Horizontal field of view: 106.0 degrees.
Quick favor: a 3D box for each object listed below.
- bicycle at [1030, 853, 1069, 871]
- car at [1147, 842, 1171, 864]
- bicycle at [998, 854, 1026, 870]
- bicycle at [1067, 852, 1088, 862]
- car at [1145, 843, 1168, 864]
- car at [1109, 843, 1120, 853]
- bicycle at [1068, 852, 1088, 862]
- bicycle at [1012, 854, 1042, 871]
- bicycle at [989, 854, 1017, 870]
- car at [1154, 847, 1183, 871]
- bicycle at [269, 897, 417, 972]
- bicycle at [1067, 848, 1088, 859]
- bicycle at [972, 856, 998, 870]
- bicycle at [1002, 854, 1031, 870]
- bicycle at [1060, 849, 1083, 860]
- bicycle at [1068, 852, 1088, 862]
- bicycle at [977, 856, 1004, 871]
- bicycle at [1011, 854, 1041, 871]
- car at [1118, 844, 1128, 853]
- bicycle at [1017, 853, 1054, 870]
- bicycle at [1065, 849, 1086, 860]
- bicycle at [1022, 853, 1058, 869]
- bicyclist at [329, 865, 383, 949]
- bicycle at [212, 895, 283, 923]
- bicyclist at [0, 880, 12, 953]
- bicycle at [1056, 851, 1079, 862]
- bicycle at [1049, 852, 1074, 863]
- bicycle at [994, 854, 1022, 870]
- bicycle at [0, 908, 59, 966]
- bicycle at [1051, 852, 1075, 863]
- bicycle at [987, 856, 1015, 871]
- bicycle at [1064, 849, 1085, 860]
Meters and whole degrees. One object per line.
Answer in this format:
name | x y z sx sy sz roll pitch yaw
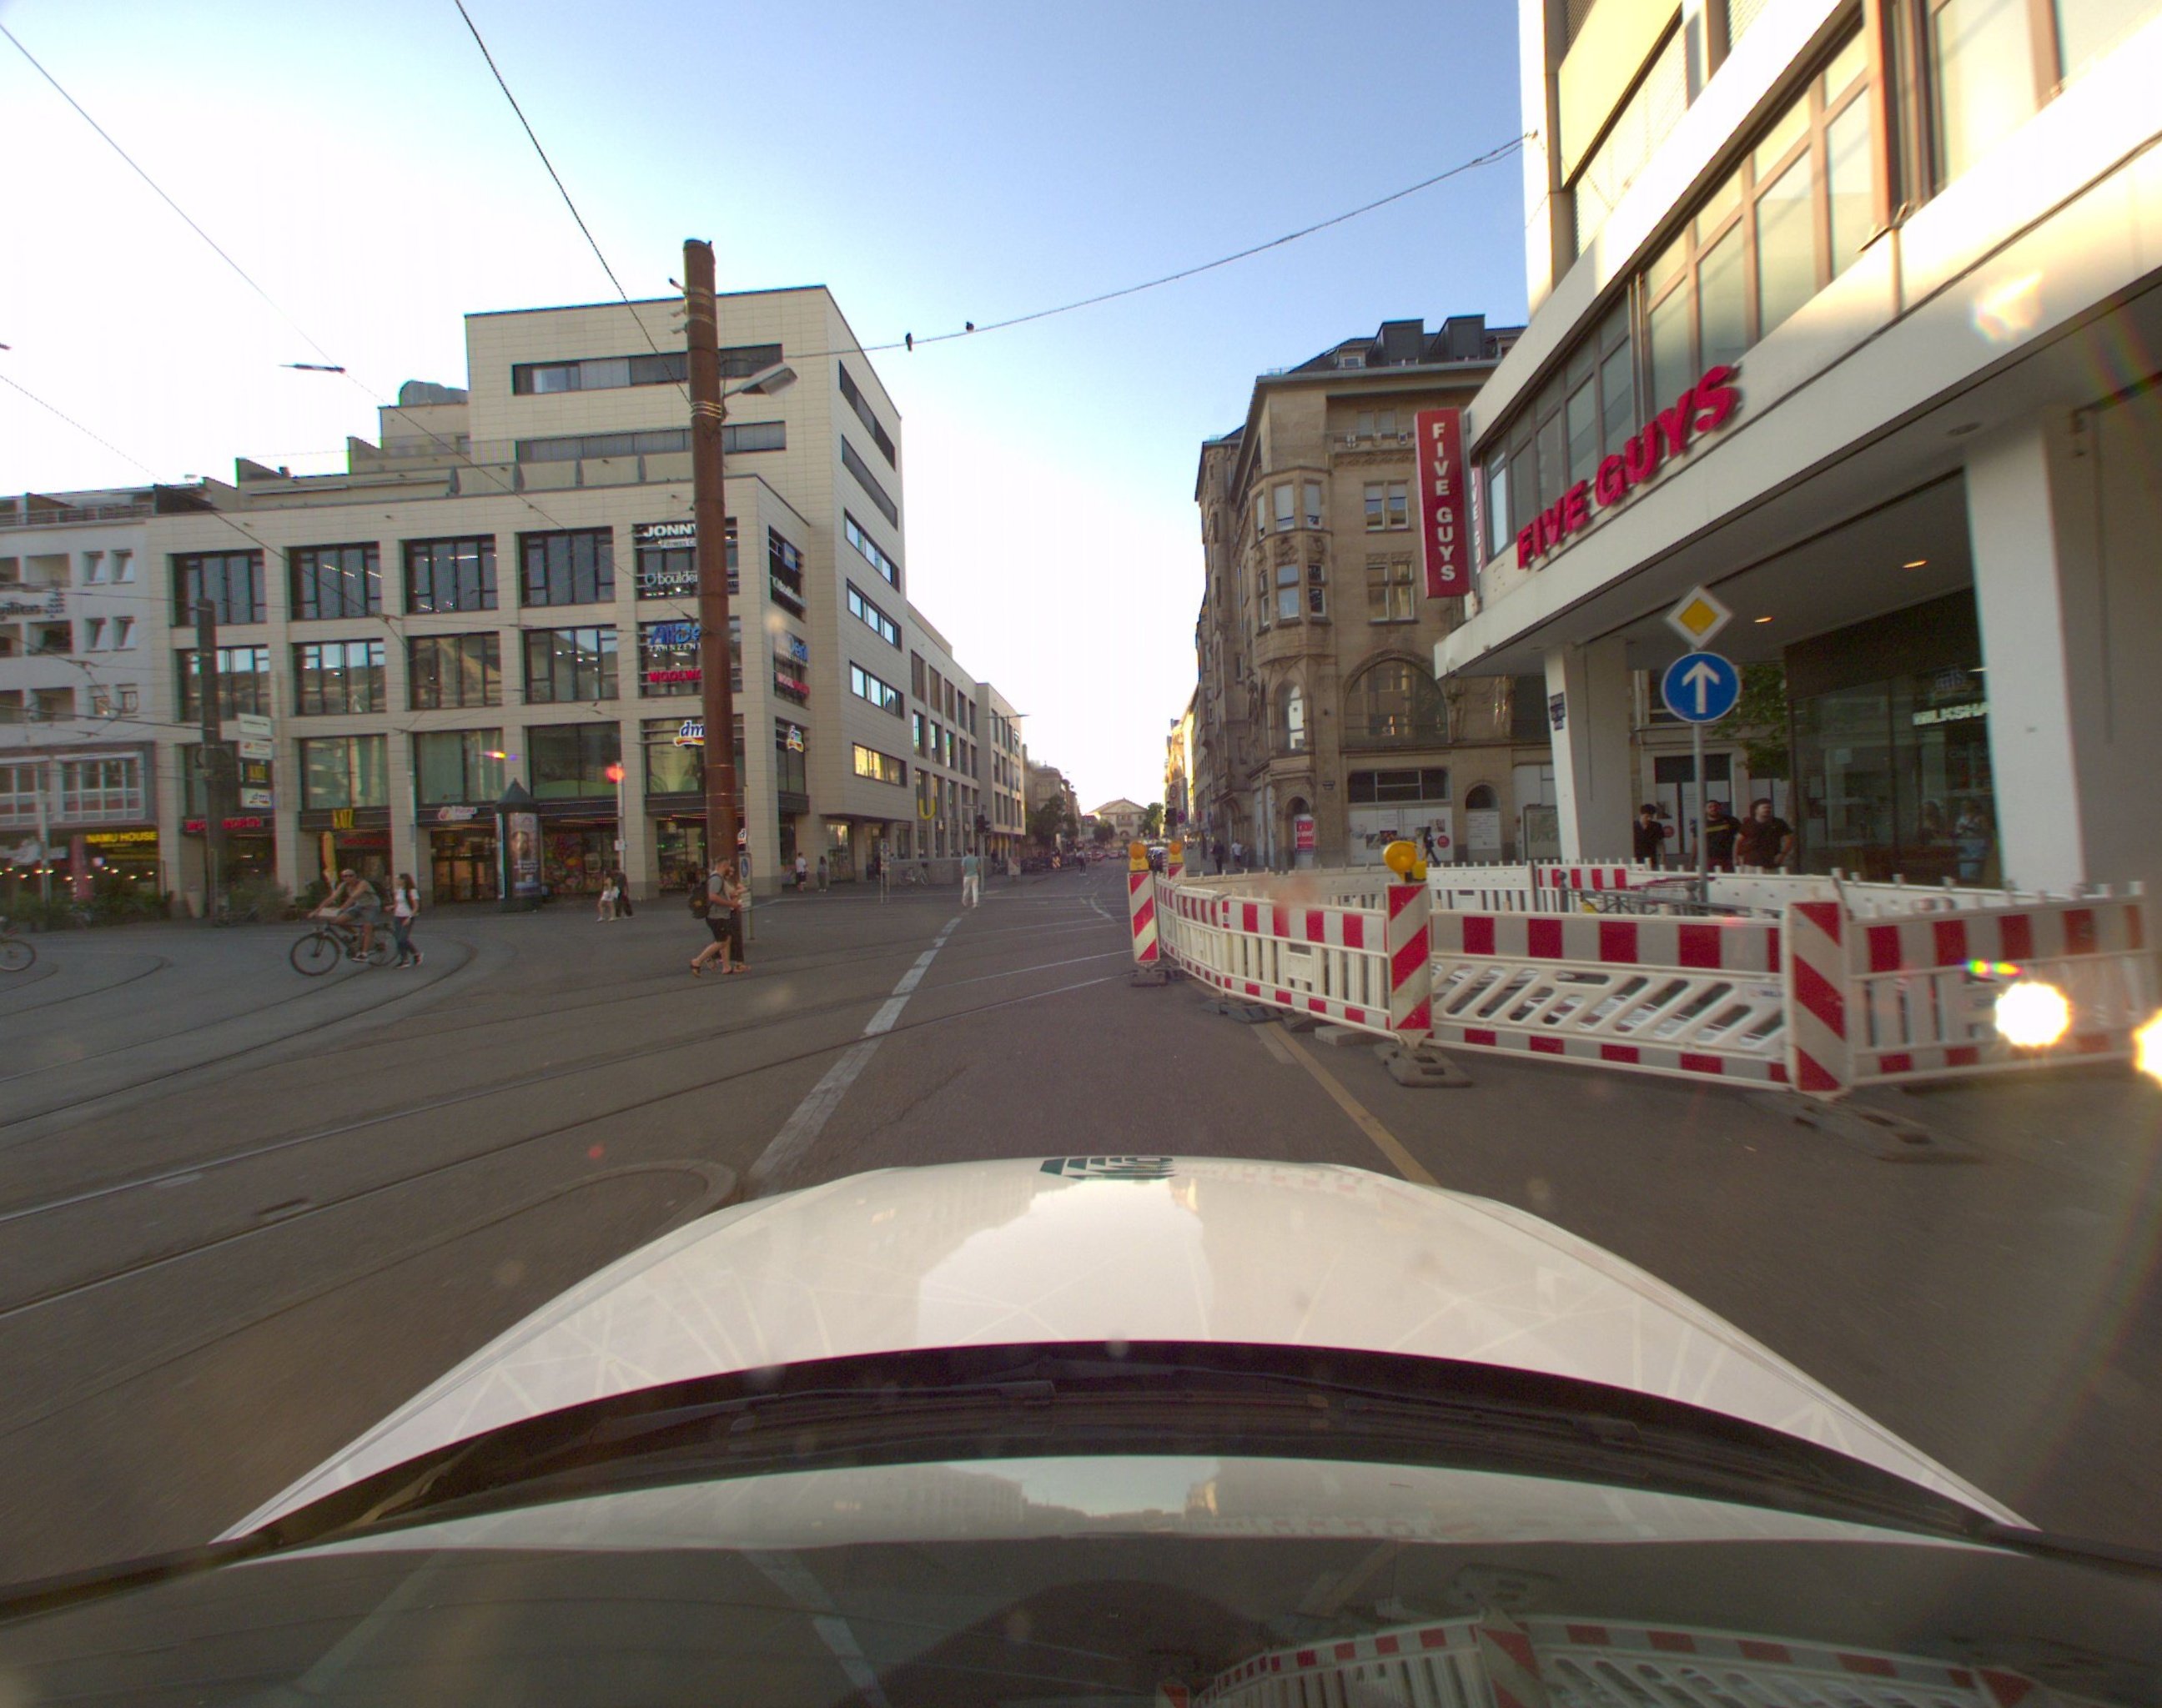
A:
bicycle | -2.412 0.598 63.395 2.899 1.255 0.798 -3 0 -22
car | 5.976 -0.089 62.532 1.671 1.547 3.677 -3 0 4
bicycle | -4.957 0.575 58.676 1.977 1.121 0.553 -1 0 -25
bicycle | -0.340 0.323 86.959 2.137 1.029 0.641 -2 0 5
car | 6.311 -0.056 68.287 1.671 1.613 4.032 -3 0 4
car | 6.395 -1.104 155.102 1.985 1.903 4.004 -1 0 4
bicycle | -0.323 0.316 87.996 2.137 1.029 0.641 -2 0 5
bicycle | -3.714 0.569 56.383 1.977 1.121 0.553 -1 0 -25
bicycle | -5.721 0.580 59.958 1.977 1.121 0.553 -1 0 -25
car | 5.499 0.310 51.584 1.671 1.424 3.677 -1 0 4
bicycle | -12.840 1.364 14.263 0.570 1.098 2.026 -1 0 6
bicycle | -0.400 -0.079 86.189 2.137 1.029 0.641 -2 0 5
bicycle | -7.562 0.712 64.354 1.977 1.121 0.553 -1 0 -25
bicycle | -4.600 0.574 58.012 1.977 1.121 0.553 -1 0 -25
bicycle | -0.957 0.095 82.415 2.137 1.029 0.641 -2 0 5
bicycle | -0.327 0.312 88.725 2.137 1.029 0.641 -2 0 5
bicycle | -6.918 0.715 62.164 1.977 1.121 0.553 -1 0 -25
bicycle | -3.859 0.567 57.111 1.977 1.121 0.553 -1 0 -25
car | 9.065 -1.153 176.605 1.985 1.903 4.004 -1 0 4
bicycle | -3.707 0.599 66.761 2.899 1.255 0.798 -3 0 -22
bicycle | -0.557 0.085 83.184 2.137 1.029 0.641 -2 0 5
bicycle | -3.422 0.586 68.240 2.899 1.255 0.798 -3 0 -22
bicyclist | -12.834 0.926 14.431 0.418 1.427 0.564 -1 0 5
bicycle | -33.317 2.176 32.575 0.445 0.986 1.939 -1 0 39
bicyclist | -22.377 1.282 16.388 0.876 1.465 0.594 -1 0 -30
bicycle | -1.282 0.260 77.878 2.137 0.953 0.641 -2 0 5
bicycle | -1.774 0.302 74.748 2.137 0.953 0.641 -2 0 5
bicycle | -5.310 0.577 59.327 1.977 1.121 0.553 -1 0 -25
bicycle | -22.281 1.710 16.438 1.925 1.115 0.694 -1 0 -31
bicycle | -1.694 0.292 76.318 2.137 0.953 0.641 -2 0 5
bicycle | -5.994 0.707 61.058 1.977 1.121 0.553 -1 0 -25
bicycle | -0.671 0.082 83.923 2.137 1.029 0.641 -2 0 5
